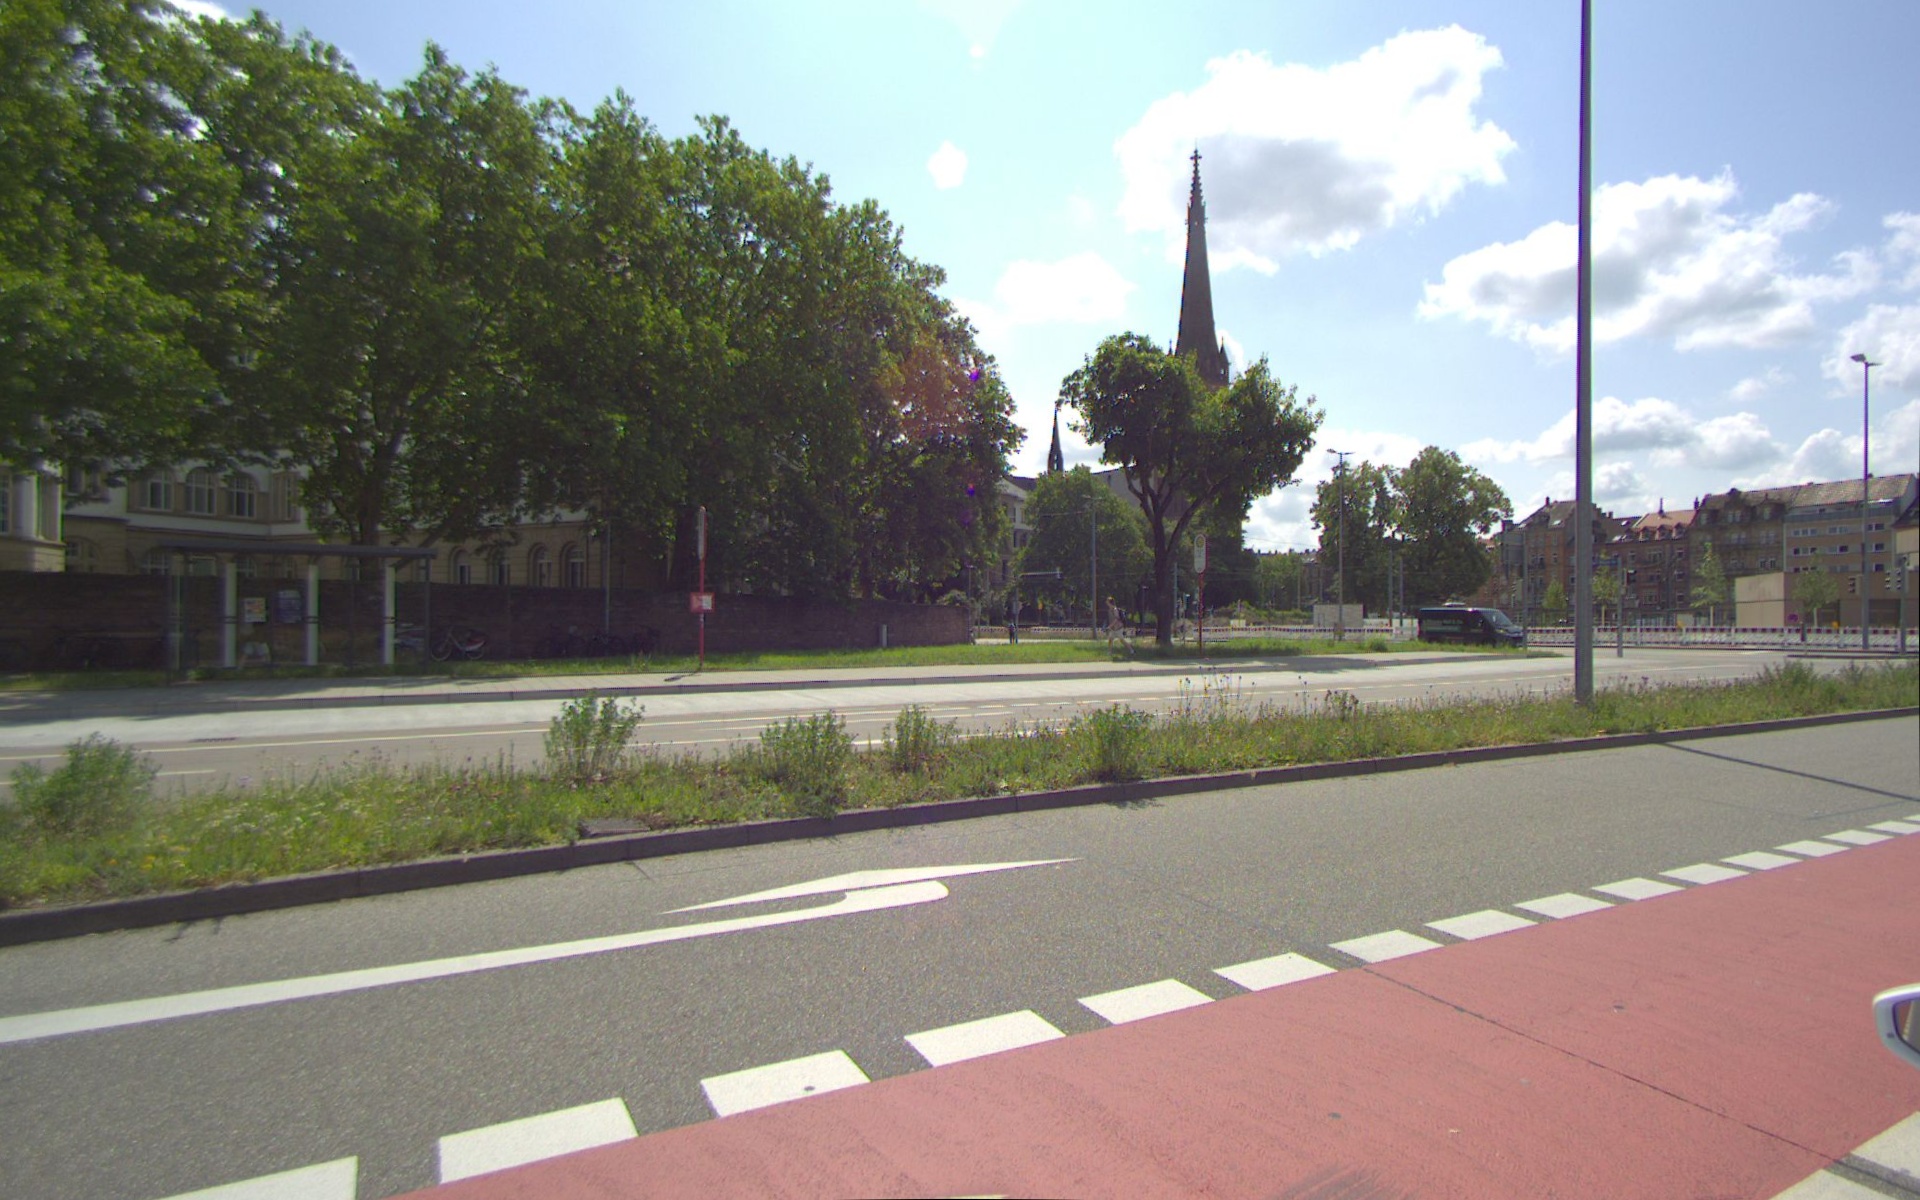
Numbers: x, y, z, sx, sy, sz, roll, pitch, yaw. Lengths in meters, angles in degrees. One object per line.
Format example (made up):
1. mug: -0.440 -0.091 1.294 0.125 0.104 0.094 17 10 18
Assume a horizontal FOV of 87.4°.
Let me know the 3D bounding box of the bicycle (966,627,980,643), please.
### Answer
1. bicycle: 0.756 2.102 59.713 0.534 0.914 1.666 0 -1 12

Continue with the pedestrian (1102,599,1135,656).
1. pedestrian: 4.473 0.770 28.323 0.858 1.580 0.555 0 -1 1

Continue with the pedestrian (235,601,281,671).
1. pedestrian: -16.704 0.843 23.908 0.607 1.638 0.754 1 0 39

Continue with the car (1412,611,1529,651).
1. car: 25.544 1.532 50.470 1.908 1.904 4.980 0 -1 -33

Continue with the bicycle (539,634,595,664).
1. bicycle: -12.770 1.594 32.700 0.537 0.914 1.658 0 -1 39

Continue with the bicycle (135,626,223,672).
1. bicycle: -18.750 1.159 24.137 0.538 1.065 1.615 0 -1 43

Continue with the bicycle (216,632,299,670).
1. bicycle: -17.909 1.289 25.625 0.537 0.914 1.658 0 -1 39

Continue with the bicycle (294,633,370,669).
1. bicycle: -16.856 1.347 26.985 0.537 0.914 1.658 0 -1 39

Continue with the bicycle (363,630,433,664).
1. bicycle: -15.840 1.308 28.339 0.537 0.914 1.658 0 -1 39

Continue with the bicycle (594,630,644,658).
1. bicycle: -11.700 1.505 34.490 0.536 0.914 1.660 0 -1 34

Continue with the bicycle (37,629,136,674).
1. bicycle: -19.898 1.163 22.902 0.538 0.964 1.656 0 -1 43

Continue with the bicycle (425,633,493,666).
1. bicycle: -14.862 1.455 29.829 0.446 0.914 1.786 0 -1 39
